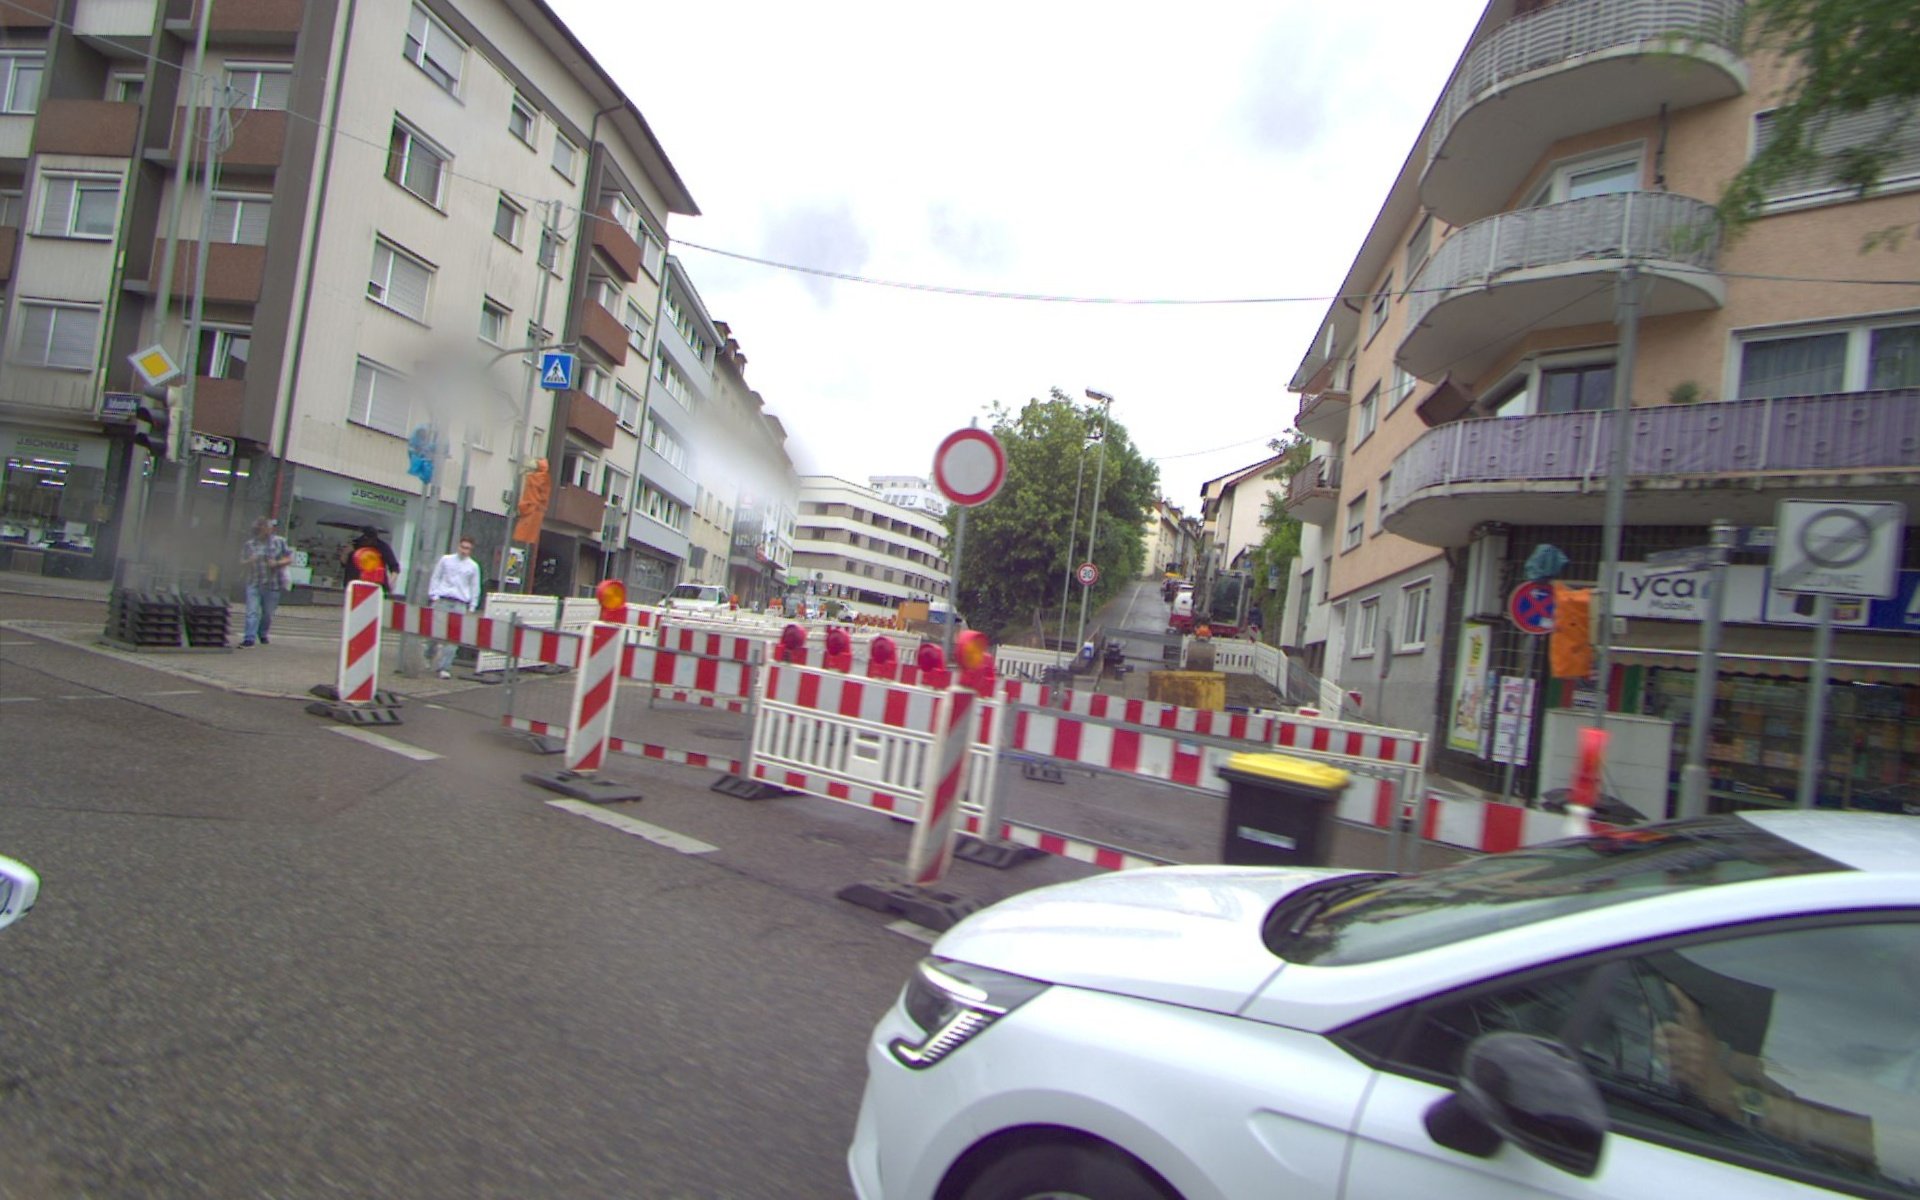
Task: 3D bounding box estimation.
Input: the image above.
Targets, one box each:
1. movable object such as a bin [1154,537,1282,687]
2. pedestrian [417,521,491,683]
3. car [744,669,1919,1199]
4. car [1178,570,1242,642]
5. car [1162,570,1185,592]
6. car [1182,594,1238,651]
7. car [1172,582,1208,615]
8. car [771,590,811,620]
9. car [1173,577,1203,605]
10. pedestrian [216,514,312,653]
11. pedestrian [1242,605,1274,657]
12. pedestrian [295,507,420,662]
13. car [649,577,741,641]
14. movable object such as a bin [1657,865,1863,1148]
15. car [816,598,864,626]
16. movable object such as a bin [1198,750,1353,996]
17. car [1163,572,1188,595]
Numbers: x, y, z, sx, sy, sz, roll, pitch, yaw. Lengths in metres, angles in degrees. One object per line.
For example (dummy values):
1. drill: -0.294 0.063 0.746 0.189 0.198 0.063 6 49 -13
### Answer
1. movable object such as a bin: 7.519 0.227 30.196 2.690 3.687 6.530 7 3 9
2. pedestrian: -6.307 0.033 12.538 0.650 1.902 0.987 5 -1 -27
3. car: 1.666 1.087 1.830 3.935 1.420 1.678 6 -1 33
4. car: 11.047 0.182 44.823 1.855 2.654 5.088 7 5 7
5. car: 19.998 -1.804 94.312 1.854 1.588 4.737 8 5 10
6. car: 9.682 0.824 39.224 1.730 1.750 3.712 8 5 11
7. car: 14.115 -0.122 61.936 1.854 1.588 4.211 8 5 11
8. car: -10.743 0.328 64.279 1.893 1.622 3.999 8 -1 -3
9. car: 16.522 -0.716 72.973 1.854 1.588 4.737 8 5 11
10. pedestrian: -9.081 -0.204 13.127 0.789 1.708 0.811 6 -1 -45
11. pedestrian: 11.268 1.147 38.008 0.754 1.836 0.811 7 4 3
12. pedestrian: -7.892 -0.178 13.239 1.014 1.883 0.918 5 -1 -11
13. car: -8.665 0.296 33.321 1.964 1.742 4.795 6 -1 -4
14. movable object such as a bin: 3.377 1.689 4.286 0.522 0.941 0.420 8 1 29
15. car: -11.684 1.182 98.072 4.018 2.034 2.005 7 -4 6
16. movable object such as a bin: 1.630 1.354 5.162 0.522 1.044 0.621 8 1 29
17. car: 18.925 -1.458 88.381 1.854 1.588 4.737 8 5 10
